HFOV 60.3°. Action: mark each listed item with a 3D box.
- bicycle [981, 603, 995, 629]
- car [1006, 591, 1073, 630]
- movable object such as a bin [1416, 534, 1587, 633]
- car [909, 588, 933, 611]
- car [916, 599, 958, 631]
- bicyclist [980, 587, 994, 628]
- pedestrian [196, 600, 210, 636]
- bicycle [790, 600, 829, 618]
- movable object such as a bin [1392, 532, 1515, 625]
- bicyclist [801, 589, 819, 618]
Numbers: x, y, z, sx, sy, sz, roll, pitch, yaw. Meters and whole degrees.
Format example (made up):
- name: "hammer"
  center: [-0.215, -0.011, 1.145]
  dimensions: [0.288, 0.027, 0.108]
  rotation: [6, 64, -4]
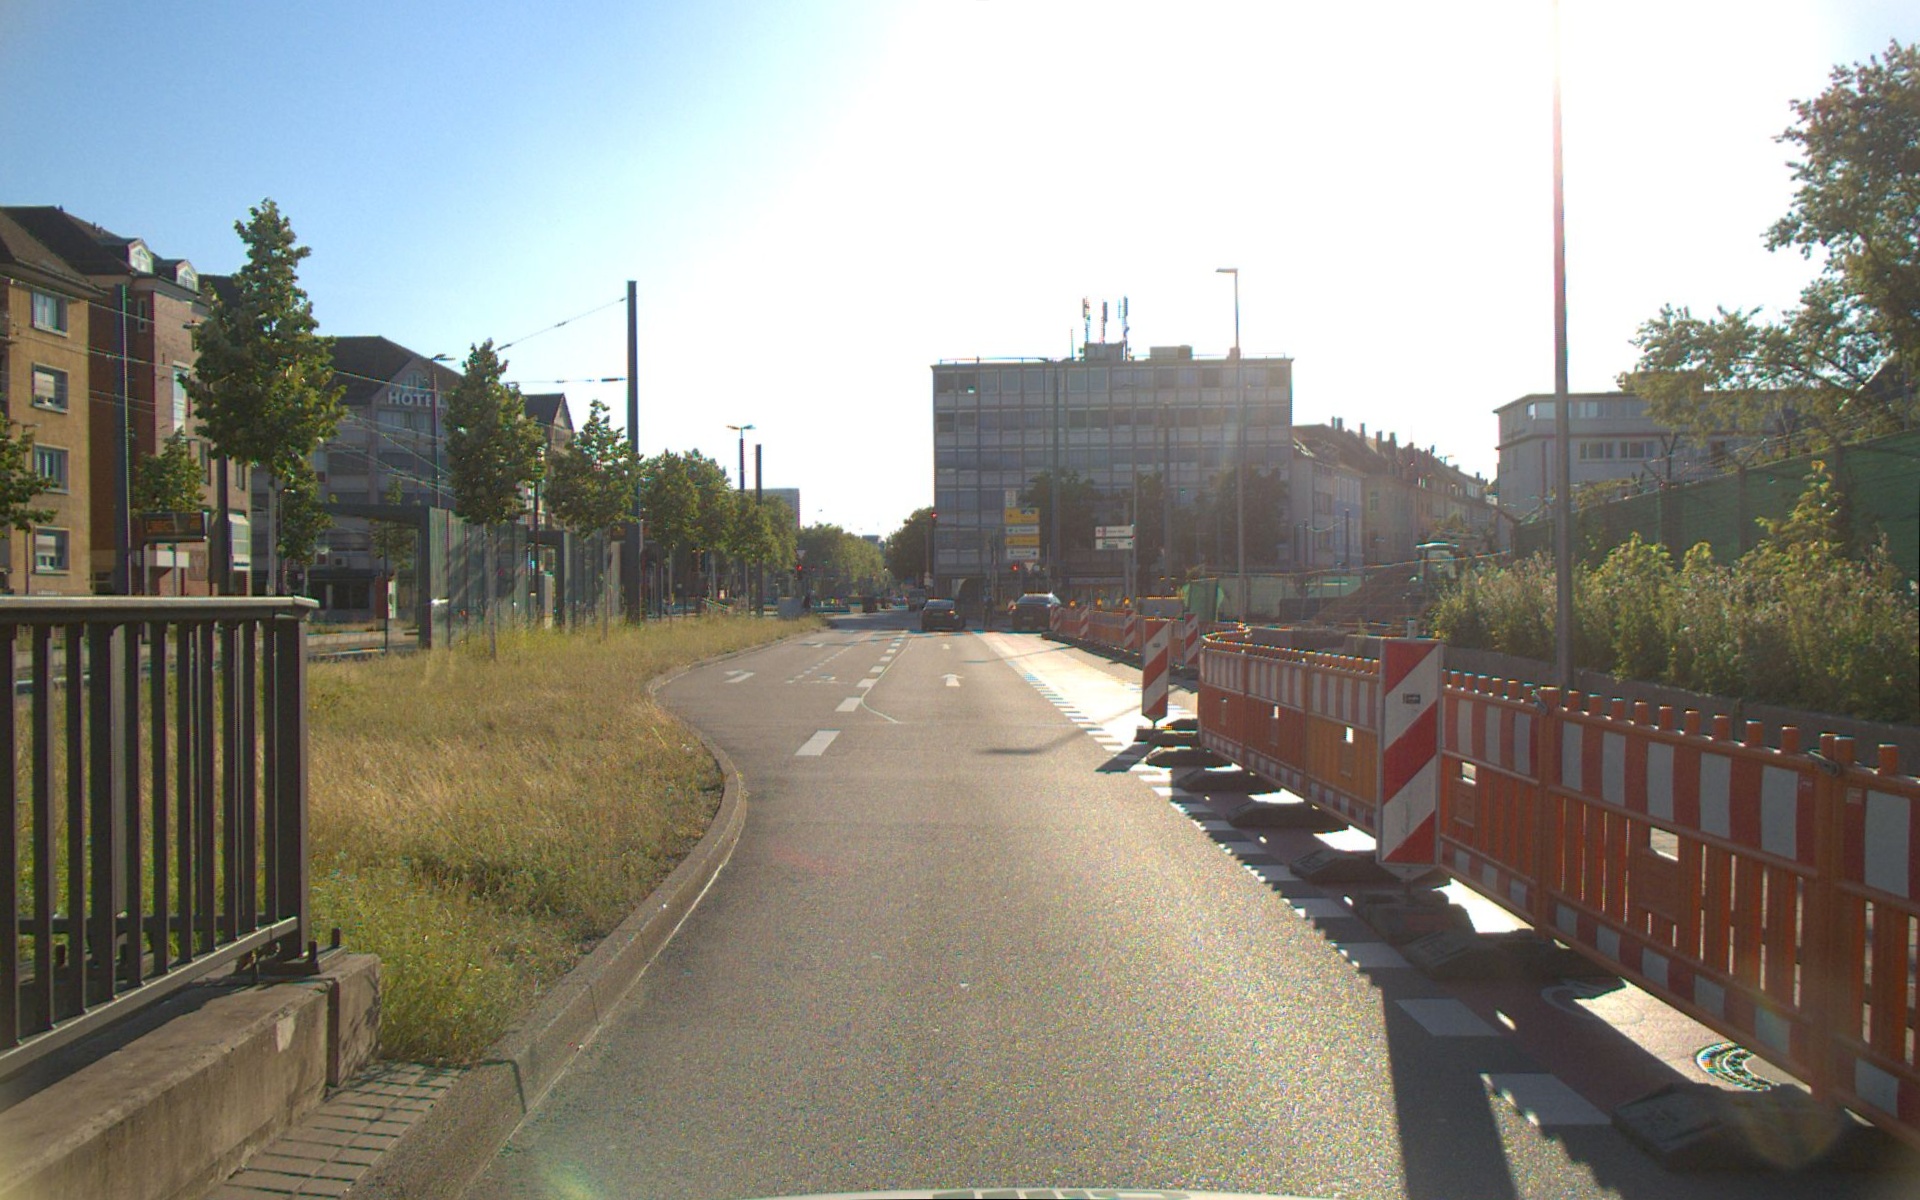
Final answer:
- name: "bicycle"
  center: [1.402, 0.790, 84.152]
  dimensions: [0.631, 1.244, 2.048]
  rotation: [1, 2, -1]
- name: "car"
  center: [3.812, 0.463, 78.839]
  dimensions: [1.953, 1.723, 3.999]
  rotation: [1, 1, 22]
- name: "movable object such as a bin"
  center: [20.793, -0.602, 63.521]
  dimensions: [5.939, 3.620, 2.860]
  rotation: [-1, 0, 24]
- name: "car"
  center: [-4.295, -0.014, 181.426]
  dimensions: [2.436, 2.434, 5.932]
  rotation: [-2, 0, -2]
- name: "car"
  center: [-1.046, 0.689, 77.397]
  dimensions: [1.707, 1.451, 4.001]
  rotation: [0, 0, 2]
- name: "bicyclist"
  center: [1.365, 0.374, 84.129]
  dimensions: [0.630, 2.048, 1.067]
  rotation: [1, 1, -1]
- name: "pedestrian"
  center: [-38.977, 0.905, 85.138]
  dimensions: [0.475, 1.854, 0.548]
  rotation: [0, 0, -4]
- name: "bicycle"
  center: [-8.806, 0.527, 96.825]
  dimensions: [2.180, 1.044, 0.682]
  rotation: [0, 0, 2]
- name: "movable object such as a bin"
  center: [15.332, -0.634, 51.679]
  dimensions: [2.230, 2.751, 4.940]
  rotation: [-1, 0, -2]
- name: "bicyclist"
  center: [-8.782, 0.212, 96.830]
  dimensions: [0.939, 1.690, 0.691]
  rotation: [0, 0, 2]
